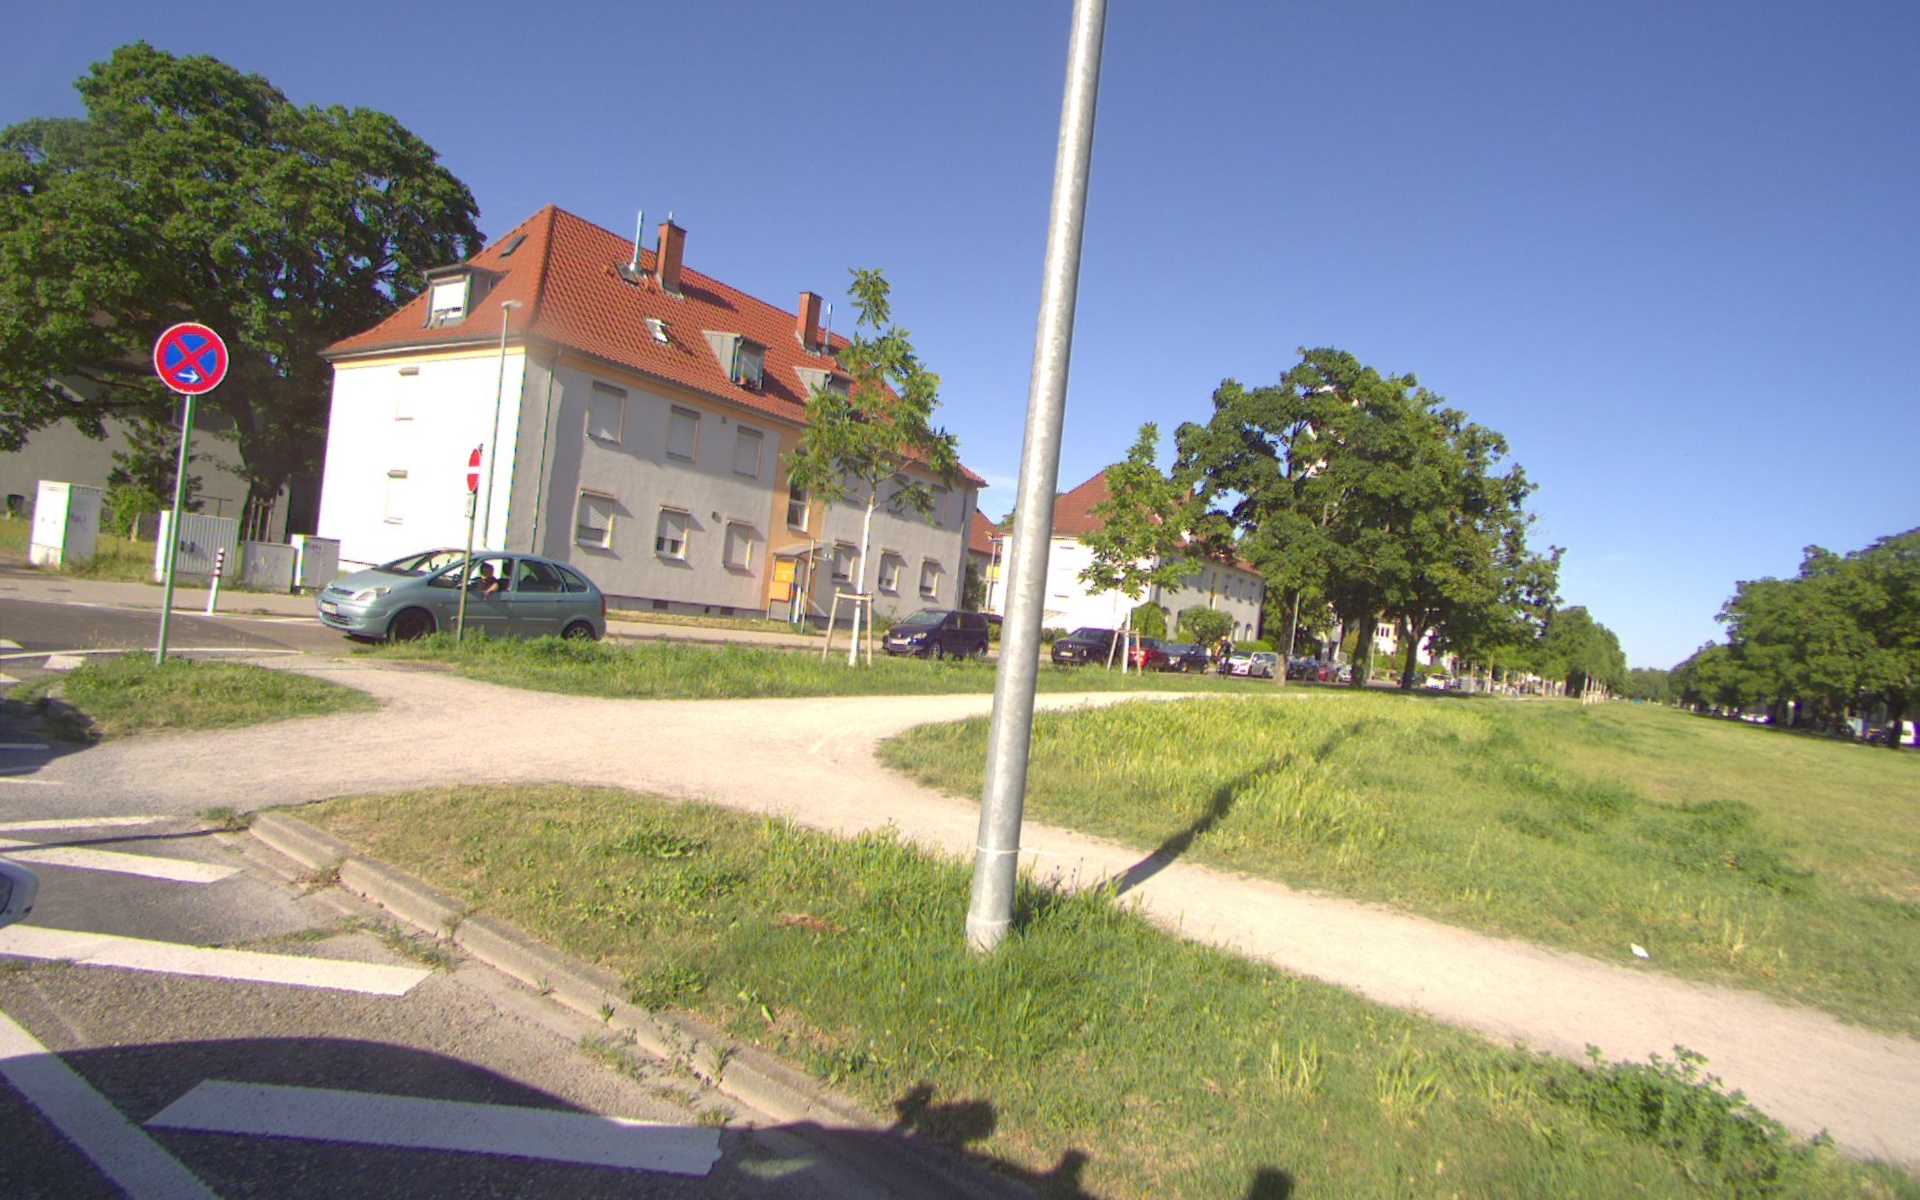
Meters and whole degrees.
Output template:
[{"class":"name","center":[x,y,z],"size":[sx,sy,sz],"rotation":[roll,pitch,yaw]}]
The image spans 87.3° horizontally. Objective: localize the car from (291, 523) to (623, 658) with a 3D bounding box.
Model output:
[{"class":"car","center":[-7.792,-0.074,15.978],"size":[1.859,1.628,4.235],"rotation":[7,0,35]}]

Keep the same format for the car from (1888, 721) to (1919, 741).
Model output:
[{"class":"car","center":[103.660,14.372,110.550],"size":[1.837,1.868,3.982],"rotation":[7,0,36]}]

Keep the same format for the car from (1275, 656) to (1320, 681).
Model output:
[{"class":"car","center":[22.170,4.510,65.967],"size":[1.694,1.358,3.798],"rotation":[7,0,35]}]

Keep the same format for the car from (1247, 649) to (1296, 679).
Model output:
[{"class":"car","center":[19.111,3.918,61.678],"size":[1.694,1.517,3.798],"rotation":[7,0,35]}]

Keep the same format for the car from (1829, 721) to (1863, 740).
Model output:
[{"class":"car","center":[93.161,13.681,105.786],"size":[2.049,1.484,4.713],"rotation":[7,0,36]}]

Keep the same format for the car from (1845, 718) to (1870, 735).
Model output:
[{"class":"car","center":[119.246,16.787,133.718],"size":[1.837,1.868,3.982],"rotation":[7,0,36]}]

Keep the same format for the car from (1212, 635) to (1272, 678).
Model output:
[{"class":"car","center":[16.072,3.240,57.203],"size":[1.842,2.038,4.244],"rotation":[7,0,35]}]

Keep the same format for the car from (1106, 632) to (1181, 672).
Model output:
[{"class":"car","center":[8.390,2.382,45.706],"size":[1.694,1.459,4.129],"rotation":[7,0,35]}]

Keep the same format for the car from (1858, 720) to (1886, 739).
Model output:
[{"class":"car","center":[110.337,15.608,121.725],"size":[1.837,1.868,3.982],"rotation":[7,0,36]}]

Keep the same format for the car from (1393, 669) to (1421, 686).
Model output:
[{"class":"car","center":[43.949,7.624,98.894],"size":[1.694,1.358,3.798],"rotation":[7,0,35]}]

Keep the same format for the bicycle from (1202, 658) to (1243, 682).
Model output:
[{"class":"bicycle","center":[11.973,3.196,45.883],"size":[1.036,0.949,2.759],"rotation":[7,0,30]}]

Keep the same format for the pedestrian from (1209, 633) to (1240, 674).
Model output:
[{"class":"pedestrian","center":[12.085,2.454,45.915],"size":[1.036,1.730,0.692],"rotation":[7,1,30]}]

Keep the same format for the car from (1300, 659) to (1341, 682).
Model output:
[{"class":"car","center":[25.569,5.006,71.224],"size":[1.694,1.358,3.798],"rotation":[7,0,35]}]

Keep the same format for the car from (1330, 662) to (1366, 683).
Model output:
[{"class":"car","center":[31.025,5.801,80.331],"size":[1.694,1.358,3.798],"rotation":[7,0,35]}]

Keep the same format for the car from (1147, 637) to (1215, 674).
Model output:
[{"class":"car","center":[10.905,2.767,49.500],"size":[1.694,1.459,4.129],"rotation":[7,0,35]}]

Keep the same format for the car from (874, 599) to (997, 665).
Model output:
[{"class":"car","center":[-0.715,1.052,31.981],"size":[1.694,1.684,4.053],"rotation":[7,0,35]}]

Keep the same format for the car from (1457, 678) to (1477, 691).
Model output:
[{"class":"car","center":[65.818,11.011,130.651],"size":[1.694,1.358,3.798],"rotation":[7,0,35]}]

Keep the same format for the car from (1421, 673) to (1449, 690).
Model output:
[{"class":"car","center":[44.867,7.735,95.058],"size":[1.694,1.358,3.798],"rotation":[7,0,35]}]

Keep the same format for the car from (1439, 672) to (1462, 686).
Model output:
[{"class":"car","center":[57.272,9.264,117.488],"size":[1.694,1.358,3.798],"rotation":[7,0,35]}]

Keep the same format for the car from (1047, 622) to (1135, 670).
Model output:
[{"class":"car","center":[5.364,1.910,40.883],"size":[1.694,1.602,4.129],"rotation":[7,0,35]}]
